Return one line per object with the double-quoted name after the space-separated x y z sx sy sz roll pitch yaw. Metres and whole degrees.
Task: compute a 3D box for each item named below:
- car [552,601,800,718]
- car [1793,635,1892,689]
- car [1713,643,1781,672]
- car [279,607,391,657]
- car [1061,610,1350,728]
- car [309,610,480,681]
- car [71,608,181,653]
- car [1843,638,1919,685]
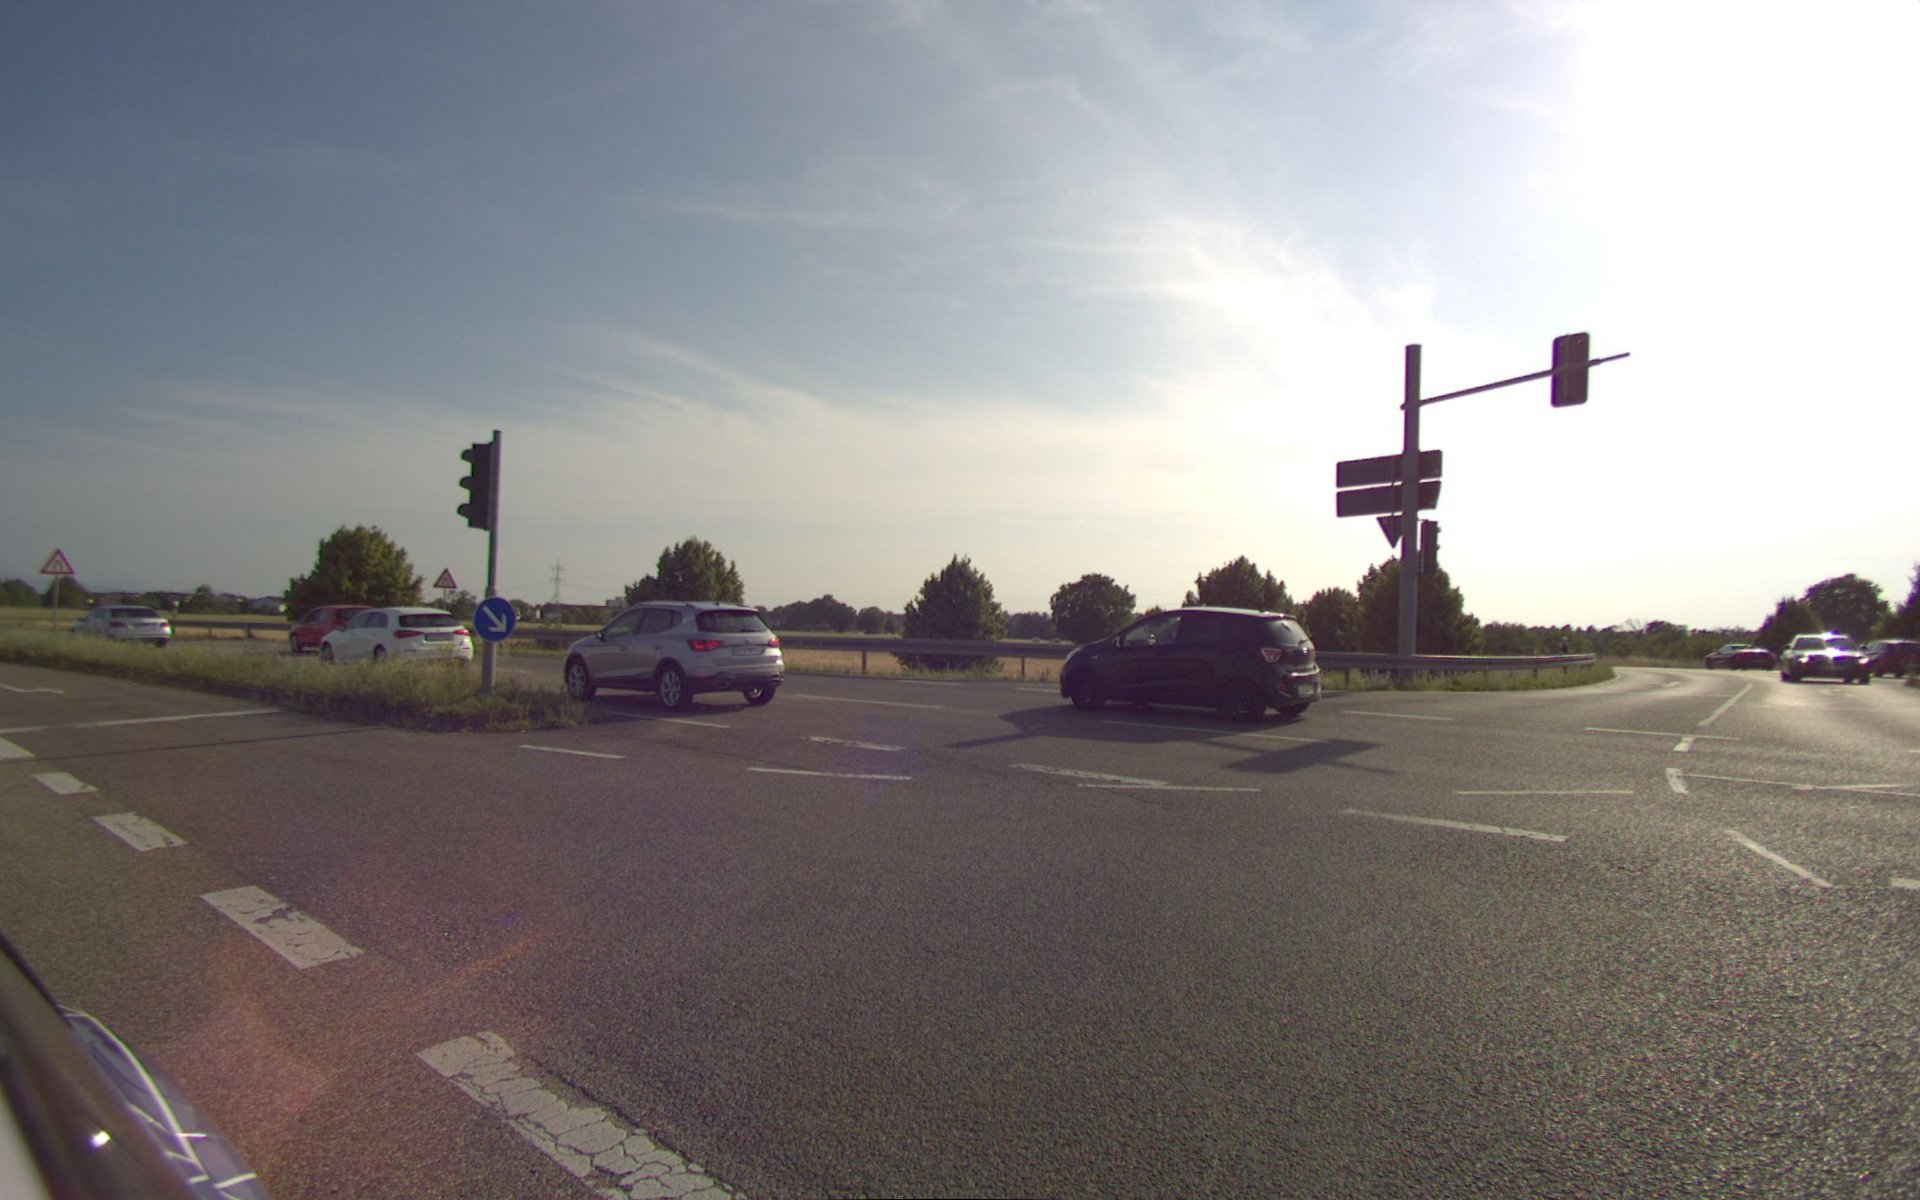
-4.387 0.810 15.325 4.090 1.535 1.668 -1 -1 41 "car"
25.882 1.765 29.796 1.957 1.409 3.949 -1 -1 38 "car"
40.508 2.931 52.160 1.646 1.364 3.972 0 -1 21 "car"
-19.579 0.972 31.670 4.016 1.478 1.645 0 -1 37 "car"
3.309 0.852 13.965 3.520 1.423 1.668 -1 -1 41 "car"
-12.471 0.939 22.223 4.388 1.424 1.713 -1 -1 38 "car"
-28.829 1.009 34.929 4.693 1.446 1.909 0 -1 37 "car"
35.550 2.283 38.354 1.914 1.599 4.098 0 -1 23 "car"
